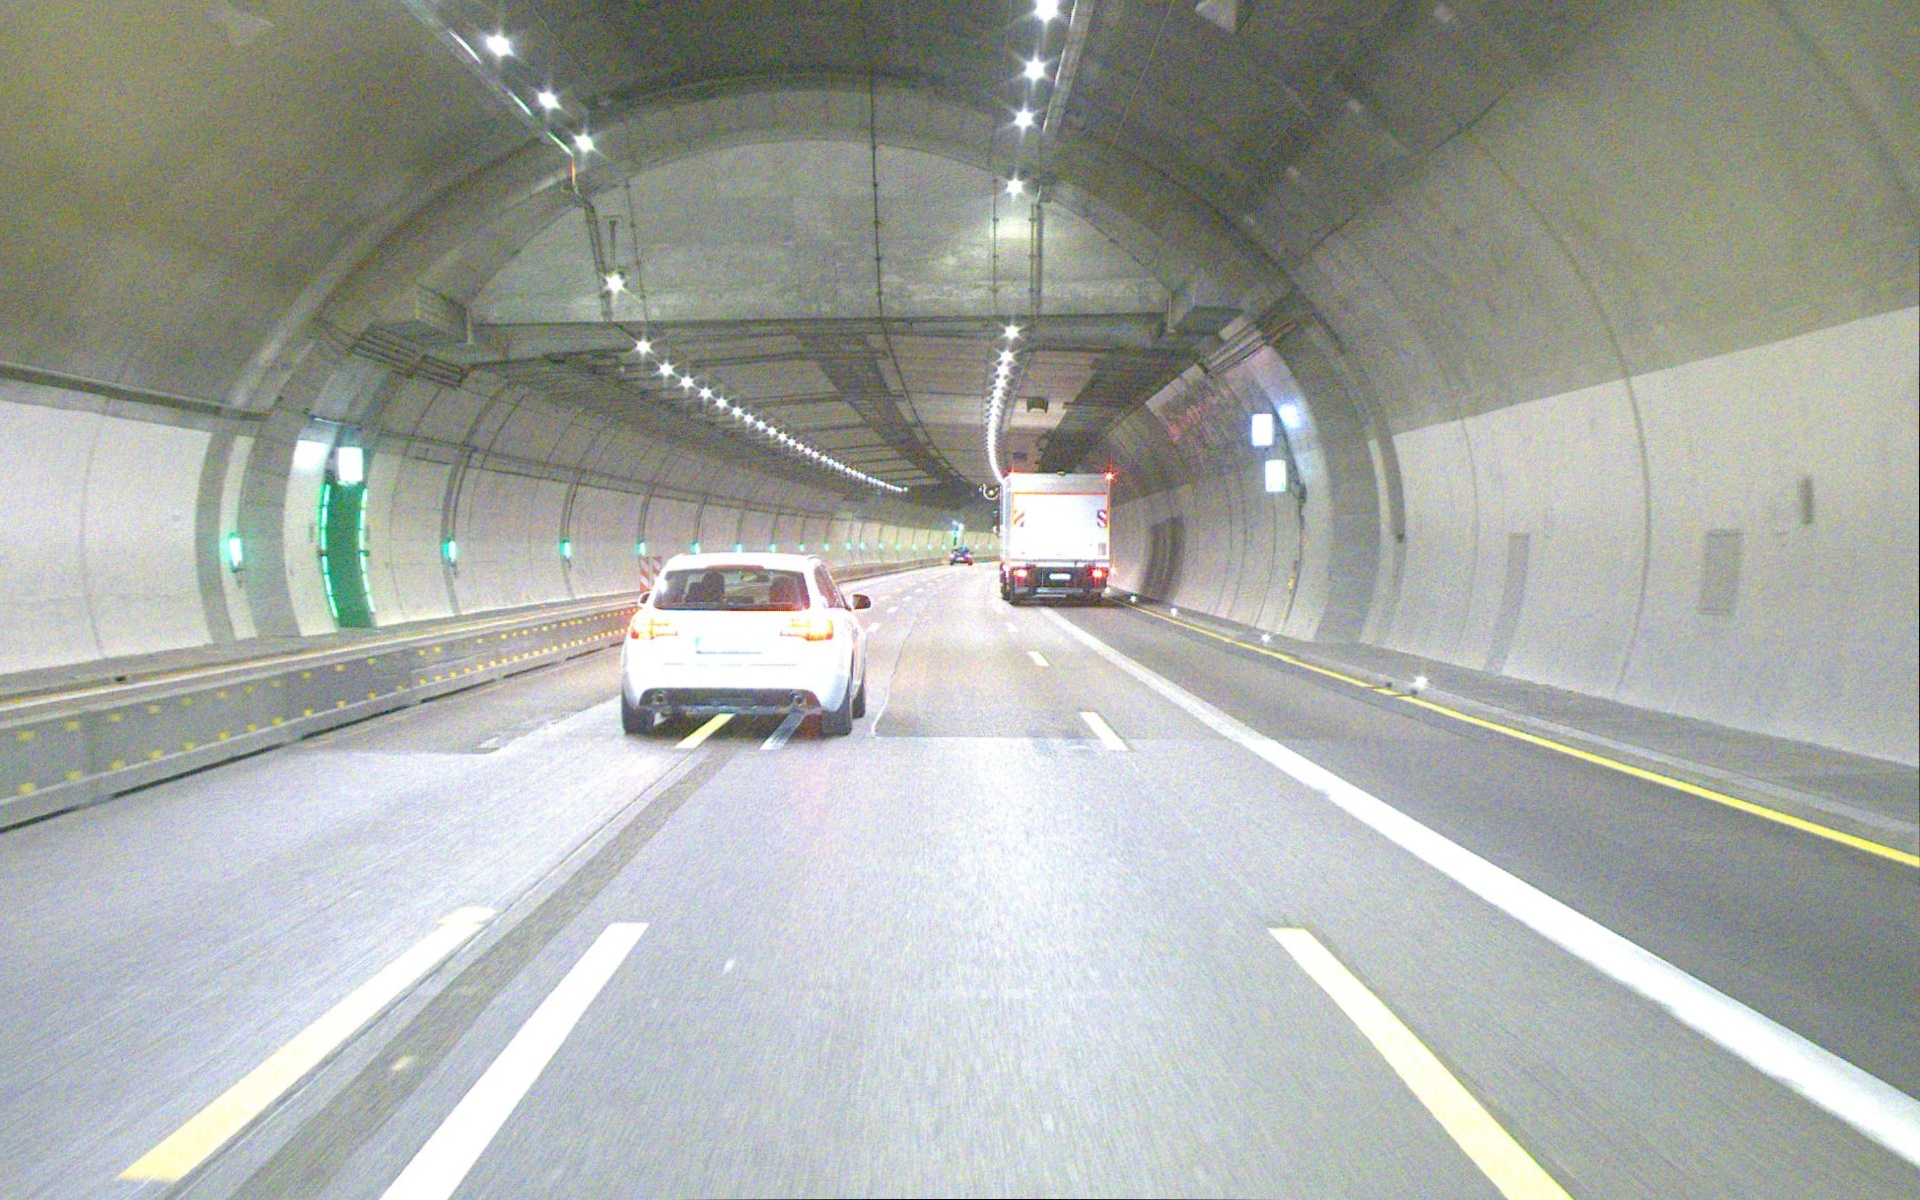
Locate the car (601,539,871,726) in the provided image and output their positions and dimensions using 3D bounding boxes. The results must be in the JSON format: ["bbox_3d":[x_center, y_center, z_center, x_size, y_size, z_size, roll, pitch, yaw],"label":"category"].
[{"bbox_3d":[-1.782,0.207,28.761,1.993,1.408,4.743,1,1,-1],"label":"car"}]

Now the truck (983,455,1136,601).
[{"bbox_3d":[2.539,-1.912,91.900,3.592,3.638,10.723,1,1,-1],"label":"truck"}]

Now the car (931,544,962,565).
[{"bbox_3d":[-0.959,-3.337,251.899,1.994,1.514,3.999,1,1,4],"label":"car"}]
